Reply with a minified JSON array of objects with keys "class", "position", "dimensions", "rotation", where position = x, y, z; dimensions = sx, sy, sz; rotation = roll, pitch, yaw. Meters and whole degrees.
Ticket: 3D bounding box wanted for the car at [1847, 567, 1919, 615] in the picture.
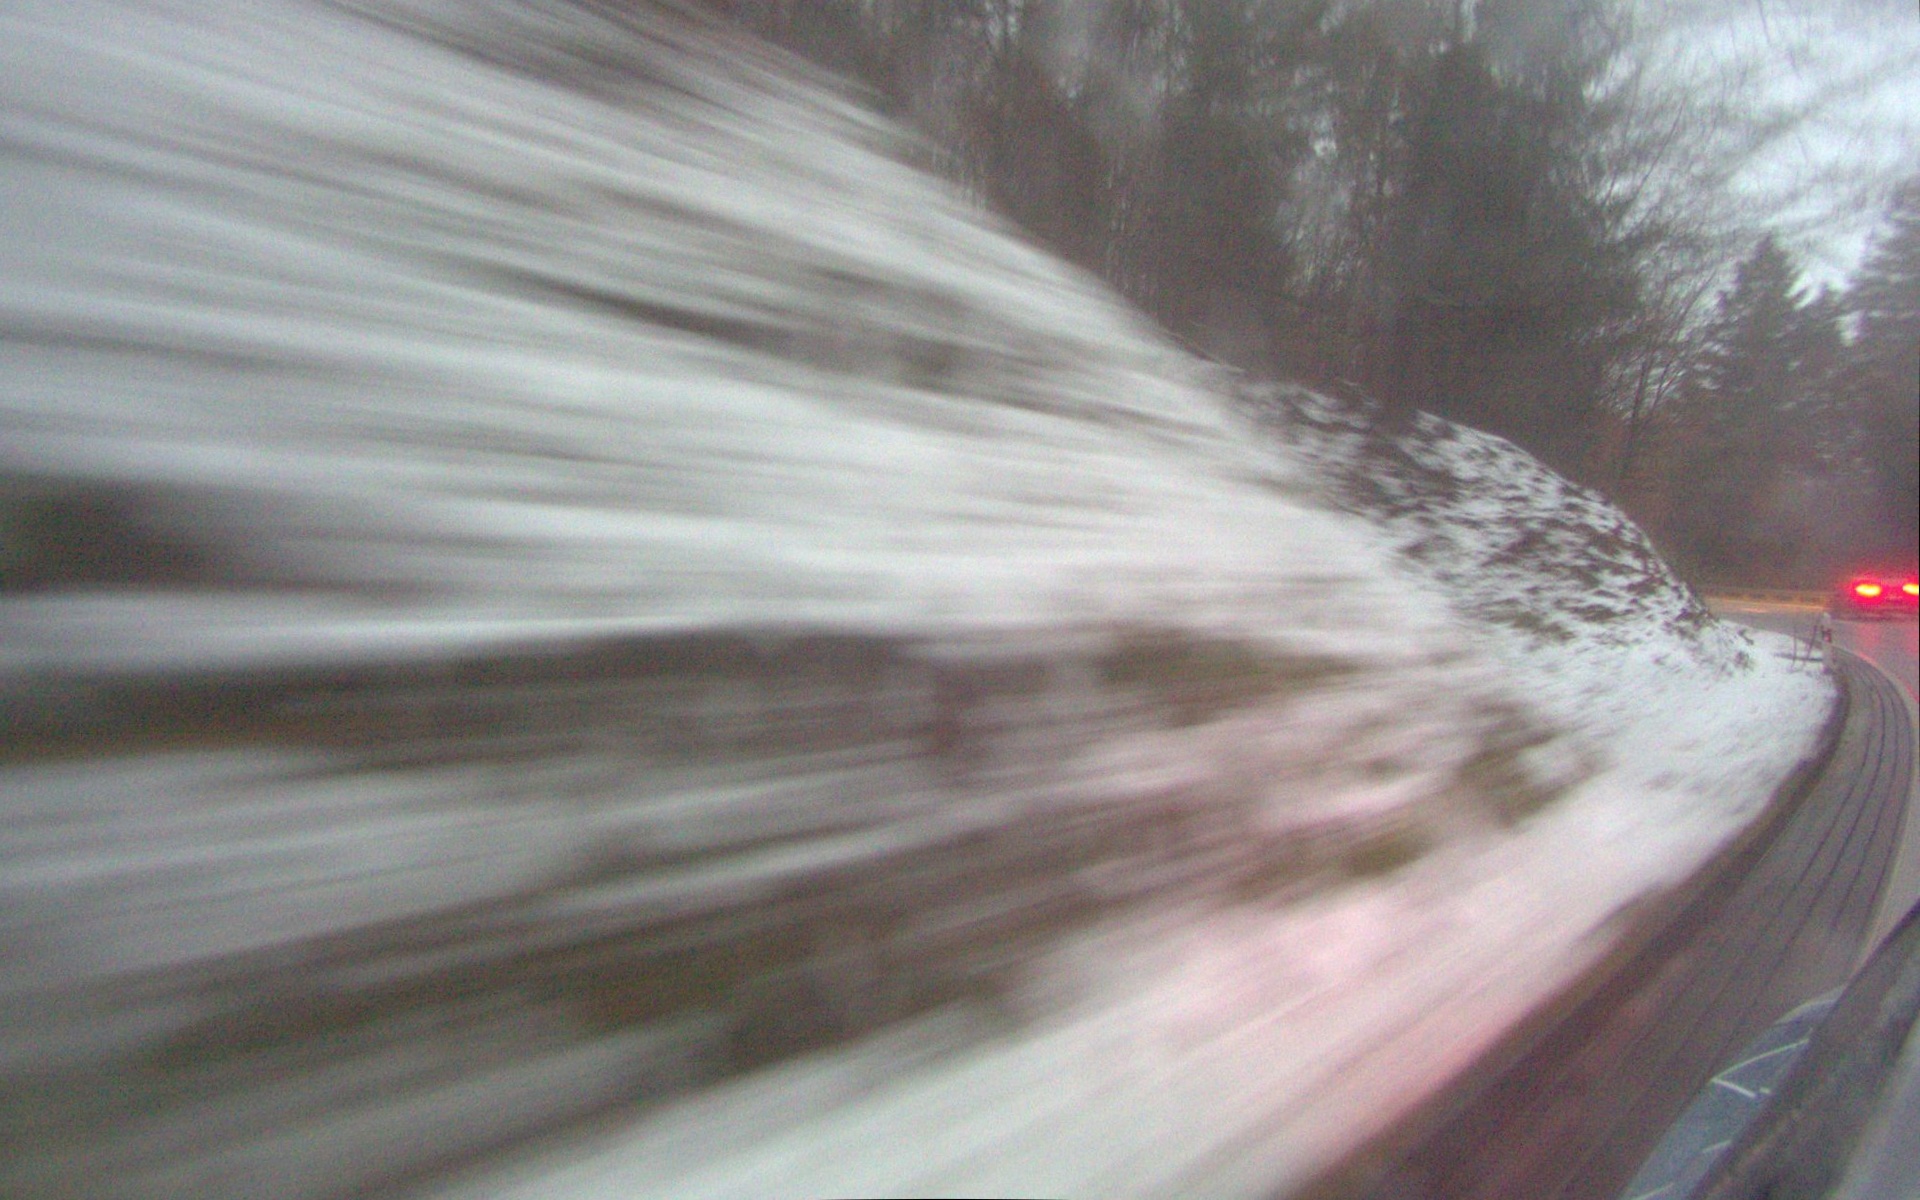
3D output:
[{"class":"car","position":[34.050,-0.351,37.080],"dimensions":[1.715,1.650,3.953],"rotation":[-2,0,33]}]
